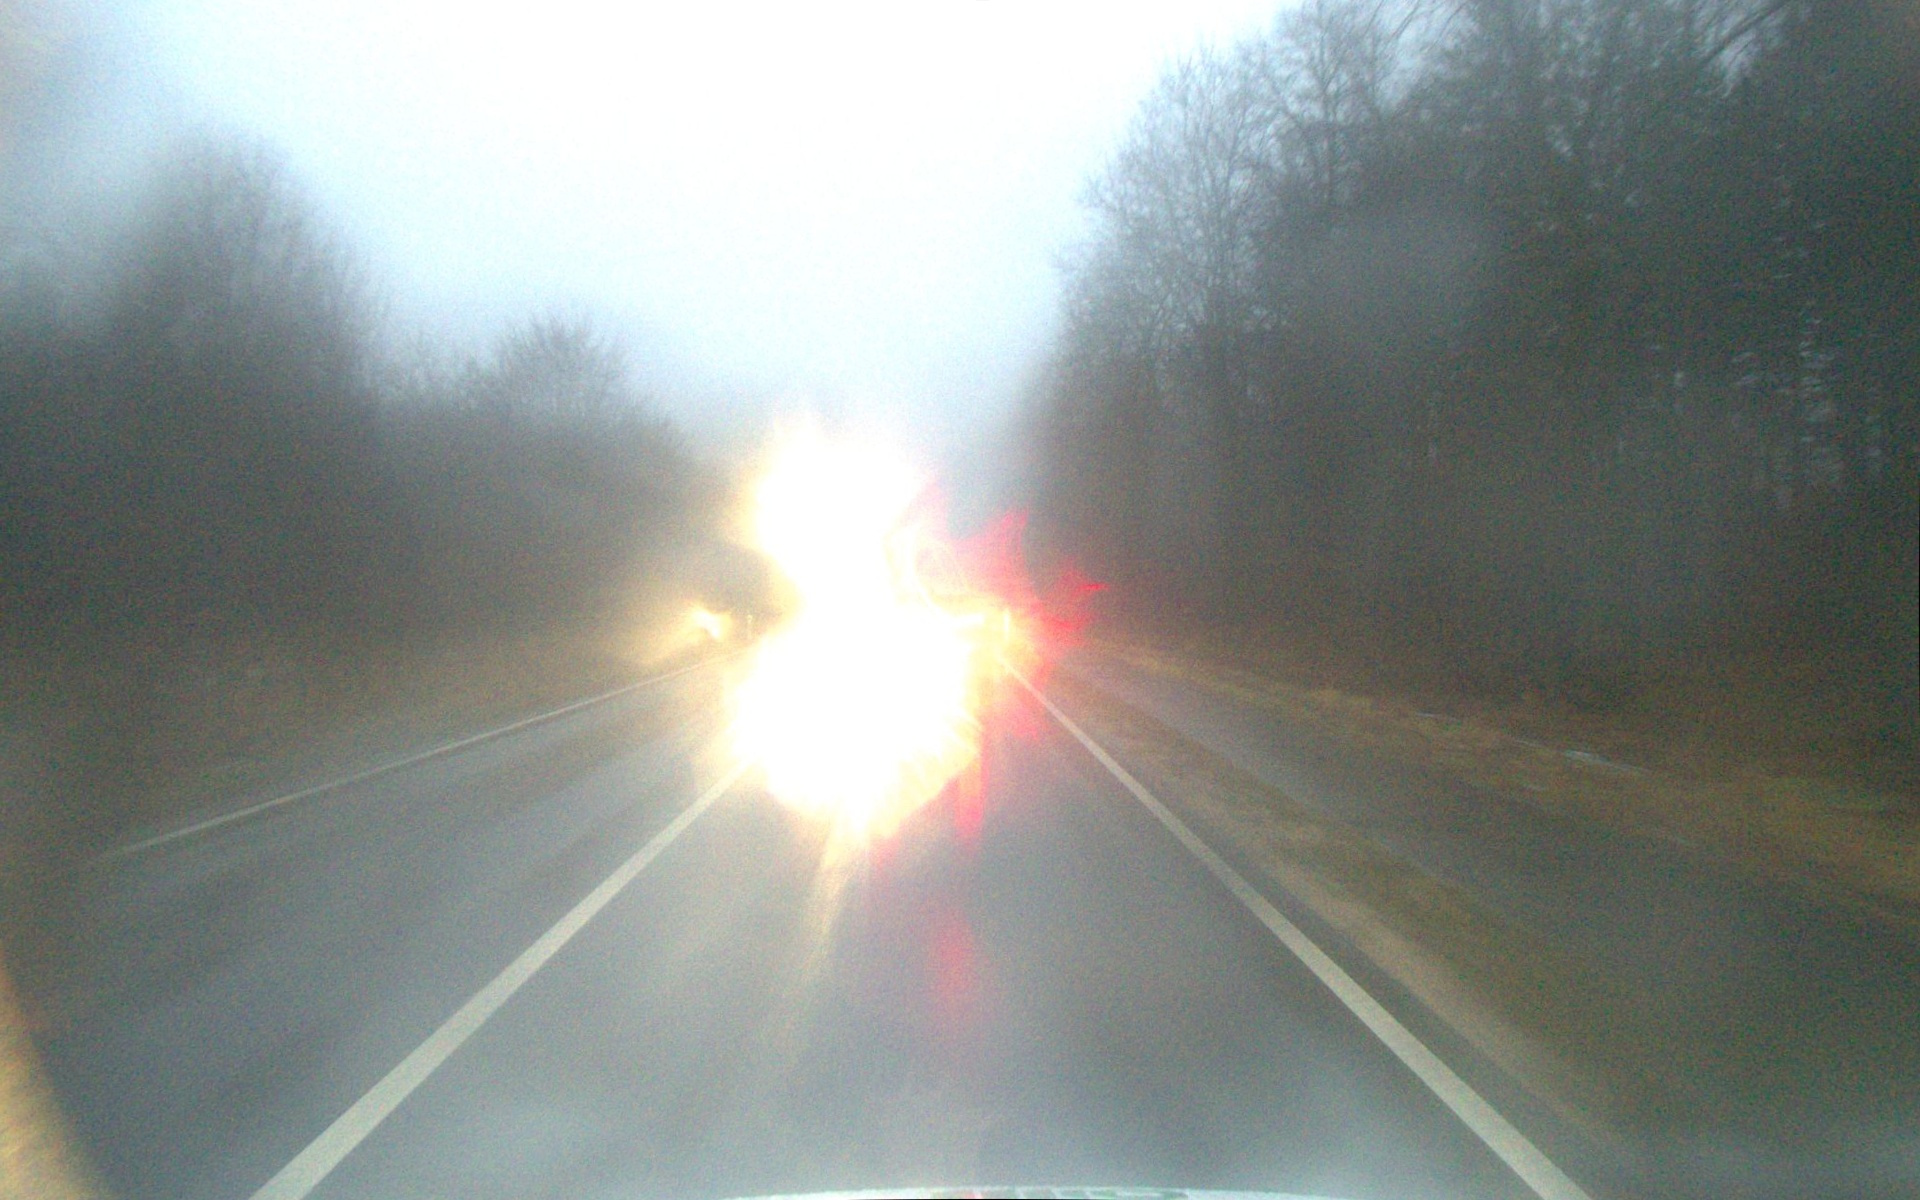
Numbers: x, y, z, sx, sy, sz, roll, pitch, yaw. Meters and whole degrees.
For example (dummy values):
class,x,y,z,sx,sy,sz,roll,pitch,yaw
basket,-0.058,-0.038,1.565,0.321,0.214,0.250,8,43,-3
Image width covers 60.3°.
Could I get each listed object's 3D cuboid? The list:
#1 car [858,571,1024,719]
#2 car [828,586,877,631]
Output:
class,x,y,z,sx,sy,sz,roll,pitch,yaw
car,-0.312,0.592,24.229,2.154,1.910,4.825,1,0,-2
car,-4.145,0.309,64.153,1.660,1.587,4.128,1,1,-1
